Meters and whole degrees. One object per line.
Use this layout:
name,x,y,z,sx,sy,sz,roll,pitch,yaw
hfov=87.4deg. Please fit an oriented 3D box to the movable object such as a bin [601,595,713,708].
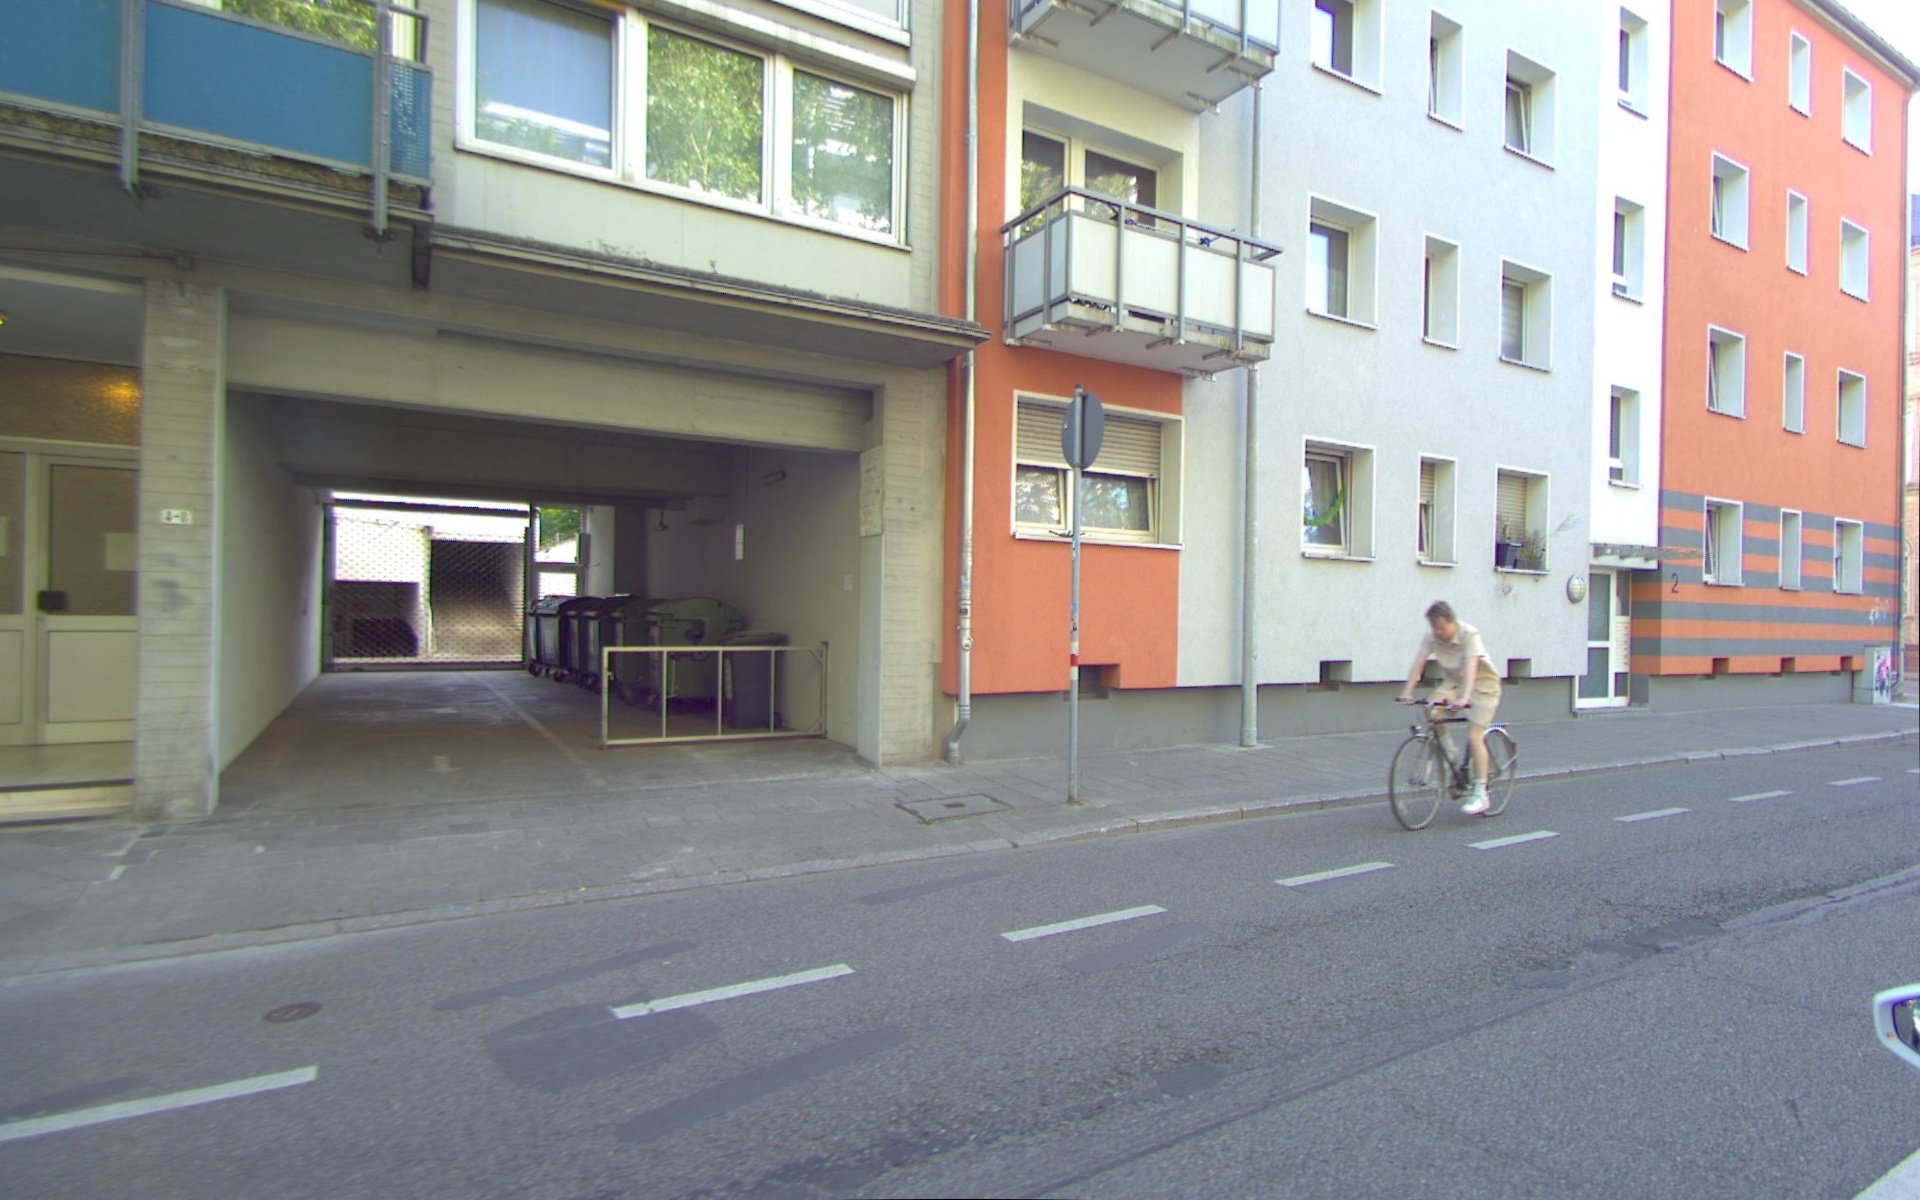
movable object such as a bin,-4.253,0.697,14.063,1.264,1.493,1.265,2,-1,-28

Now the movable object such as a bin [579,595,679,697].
movable object such as a bin,-5.151,0.690,15.599,1.264,1.506,1.155,2,0,-28

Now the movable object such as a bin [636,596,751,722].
movable object such as a bin,-3.387,0.715,12.710,1.128,1.484,1.255,2,0,-28

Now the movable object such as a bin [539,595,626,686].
movable object such as a bin,-6.619,0.687,17.590,1.264,1.506,1.155,2,0,-28

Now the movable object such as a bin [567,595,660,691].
movable object such as a bin,-5.754,0.693,16.647,1.264,1.515,1.155,2,0,-28

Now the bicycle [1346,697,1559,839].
bicycle,3.804,1.241,7.707,1.846,0.903,0.545,2,-1,-31

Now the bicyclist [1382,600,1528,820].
bicyclist,3.788,0.799,7.699,0.797,1.579,0.645,1,0,-31

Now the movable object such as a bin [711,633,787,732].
movable object such as a bin,-2.387,0.918,11.358,0.694,1.061,0.567,2,0,-28

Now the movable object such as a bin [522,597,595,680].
movable object such as a bin,-7.538,0.700,18.845,1.128,1.484,1.129,2,0,-28
